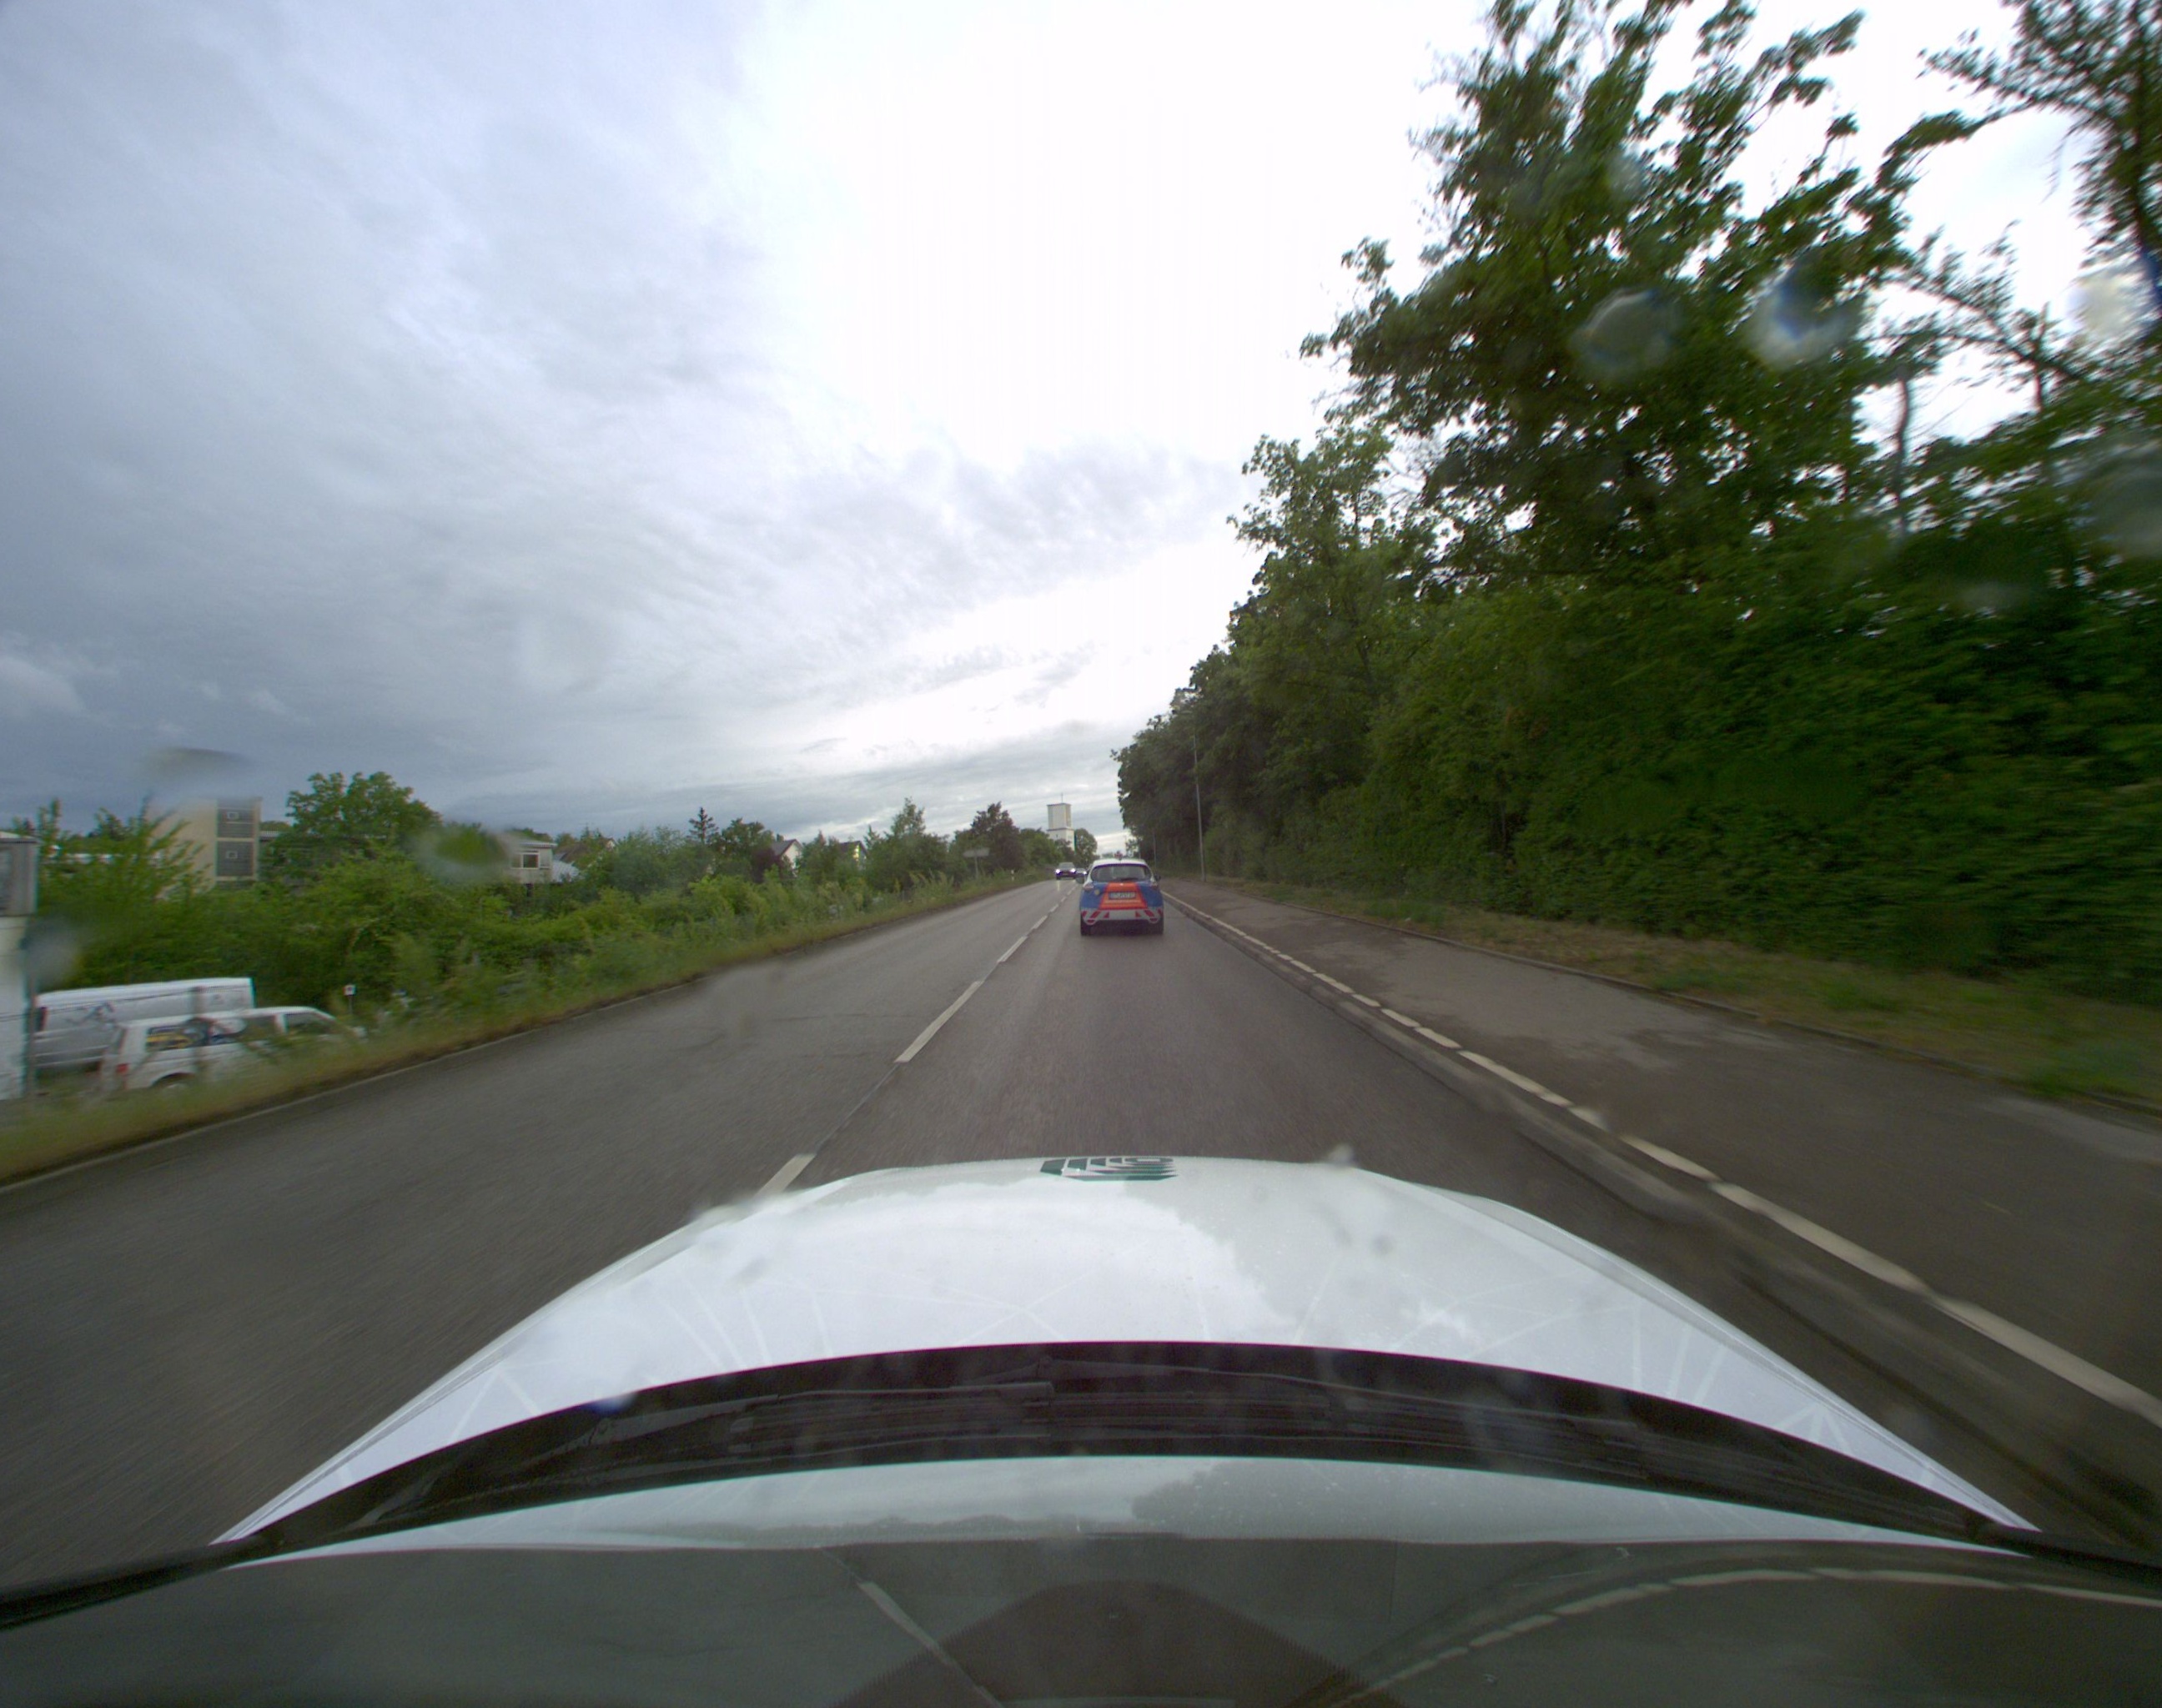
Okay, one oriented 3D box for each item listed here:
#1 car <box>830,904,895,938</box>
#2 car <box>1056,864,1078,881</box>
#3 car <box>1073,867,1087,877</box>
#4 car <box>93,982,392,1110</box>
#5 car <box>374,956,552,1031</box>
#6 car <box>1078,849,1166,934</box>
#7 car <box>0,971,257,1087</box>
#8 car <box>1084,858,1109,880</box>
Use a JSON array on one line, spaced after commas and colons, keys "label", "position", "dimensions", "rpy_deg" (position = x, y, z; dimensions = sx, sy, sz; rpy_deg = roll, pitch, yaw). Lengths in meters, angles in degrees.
[{"label": "car", "position": [-12.526, 3.801, 46.930], "dimensions": [1.640, 1.523, 4.083], "rpy_deg": [-5, -1, 15]}, {"label": "car", "position": [-1.376, 1.796, 79.914], "dimensions": [1.862, 1.585, 4.416], "rpy_deg": [-3, 0, 2]}, {"label": "car", "position": [-0.131, 2.694, 122.235], "dimensions": [1.855, 1.503, 4.728], "rpy_deg": [-3, -1, 1]}, {"label": "car", "position": [-20.227, 4.548, 19.904], "dimensions": [1.843, 1.803, 4.672], "rpy_deg": [-9, -1, 32]}, {"label": "car", "position": [-22.361, 5.025, 29.701], "dimensions": [1.843, 1.692, 4.672], "rpy_deg": [-9, -1, 32]}, {"label": "car", "position": [0.854, 0.786, 17.767], "dimensions": [1.651, 1.593, 3.569], "rpy_deg": [-3, -2, 1]}, {"label": "car", "position": [-31.104, 5.546, 25.802], "dimensions": [1.959, 2.461, 6.639], "rpy_deg": [-8, -2, 33]}, {"label": "car", "position": [1.185, 1.200, 64.588], "dimensions": [1.797, 1.590, 3.562], "rpy_deg": [-4, -1, 0]}]
